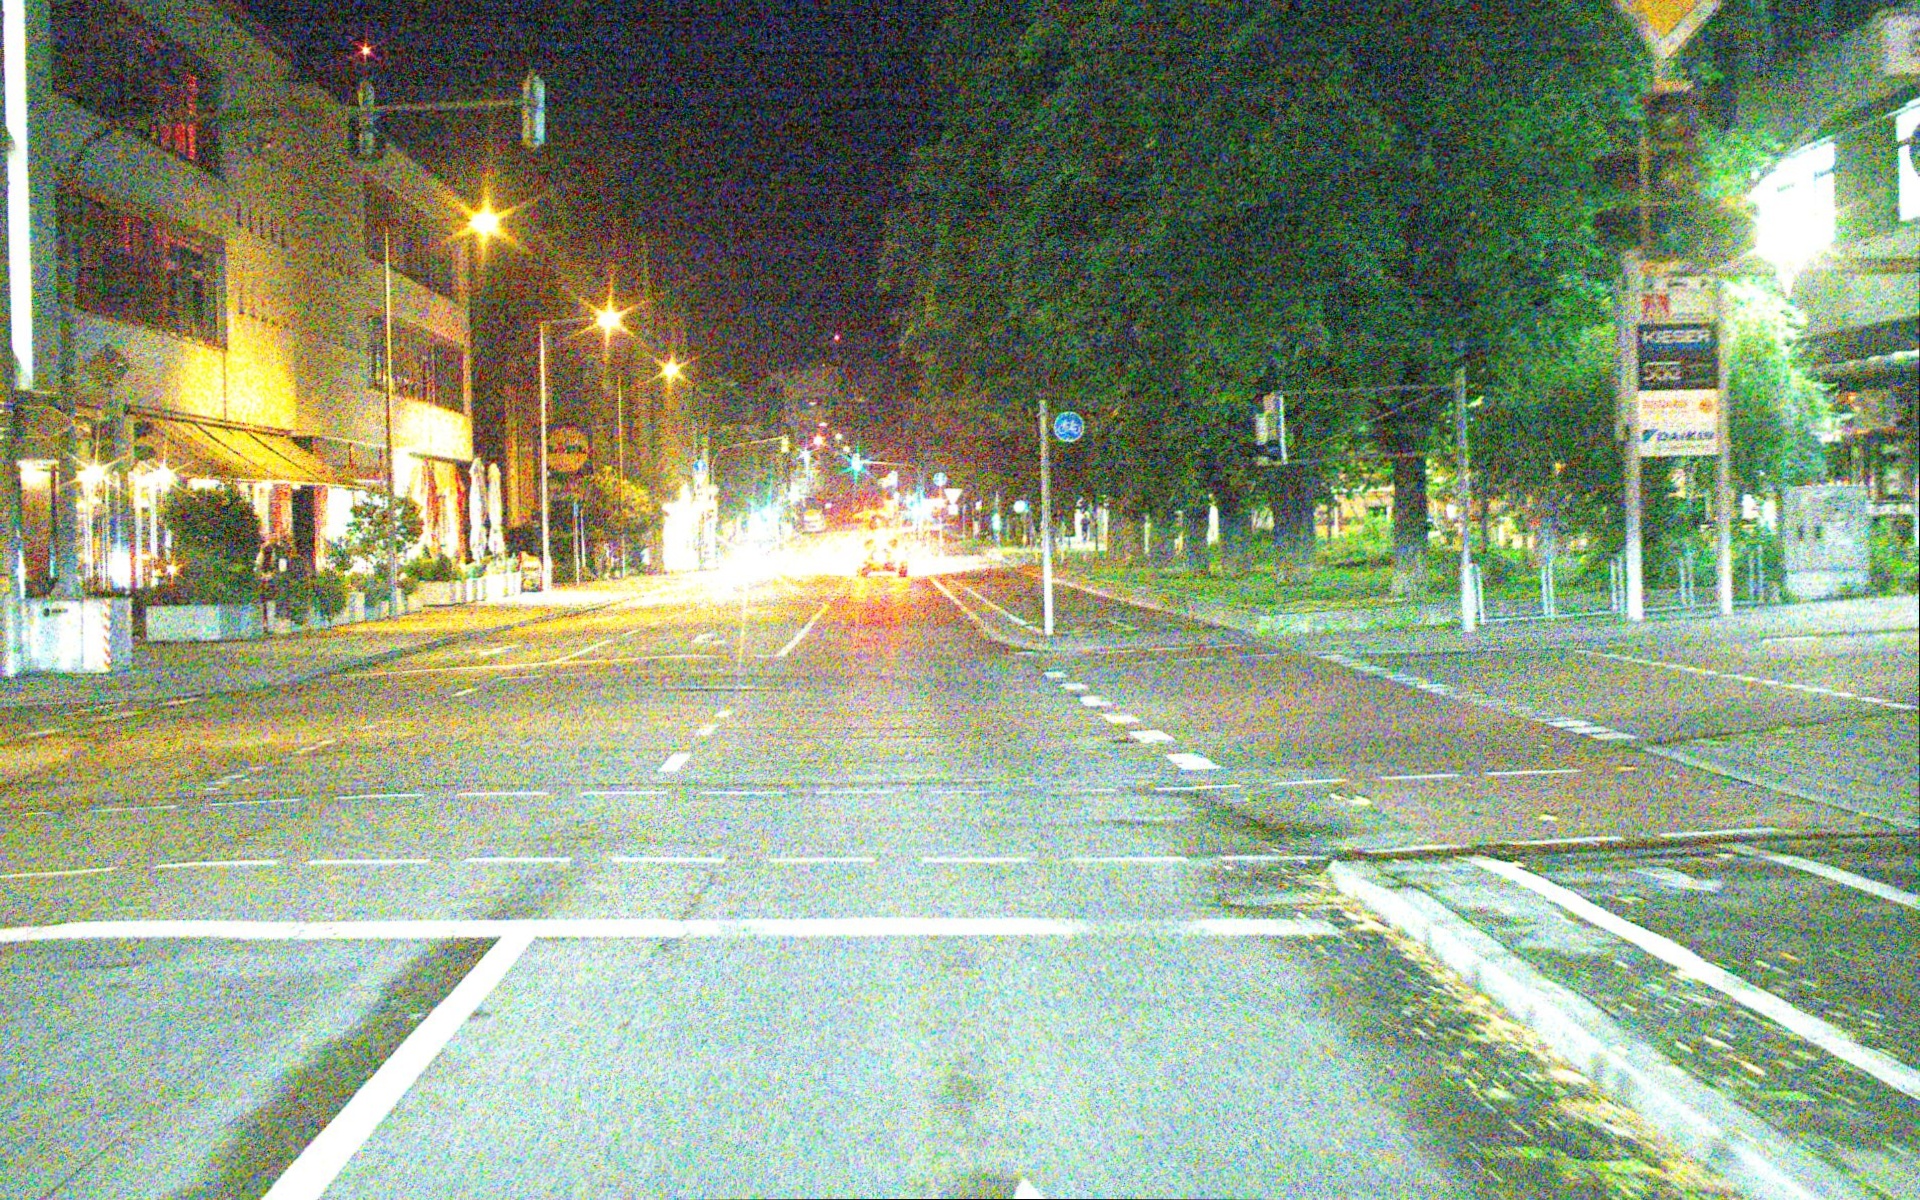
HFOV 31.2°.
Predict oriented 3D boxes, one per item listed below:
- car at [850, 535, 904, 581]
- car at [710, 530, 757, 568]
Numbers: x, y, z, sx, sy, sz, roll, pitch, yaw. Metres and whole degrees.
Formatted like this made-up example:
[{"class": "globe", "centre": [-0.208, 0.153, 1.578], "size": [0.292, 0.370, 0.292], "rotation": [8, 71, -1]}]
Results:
[{"class": "car", "centre": [-3.199, -1.635, 132.363], "size": [1.993, 1.637, 4.000], "rotation": [-2, 1, -1]}, {"class": "car", "centre": [-10.322, -2.328, 157.047], "size": [1.993, 1.637, 4.001], "rotation": [-2, 1, -2]}]
